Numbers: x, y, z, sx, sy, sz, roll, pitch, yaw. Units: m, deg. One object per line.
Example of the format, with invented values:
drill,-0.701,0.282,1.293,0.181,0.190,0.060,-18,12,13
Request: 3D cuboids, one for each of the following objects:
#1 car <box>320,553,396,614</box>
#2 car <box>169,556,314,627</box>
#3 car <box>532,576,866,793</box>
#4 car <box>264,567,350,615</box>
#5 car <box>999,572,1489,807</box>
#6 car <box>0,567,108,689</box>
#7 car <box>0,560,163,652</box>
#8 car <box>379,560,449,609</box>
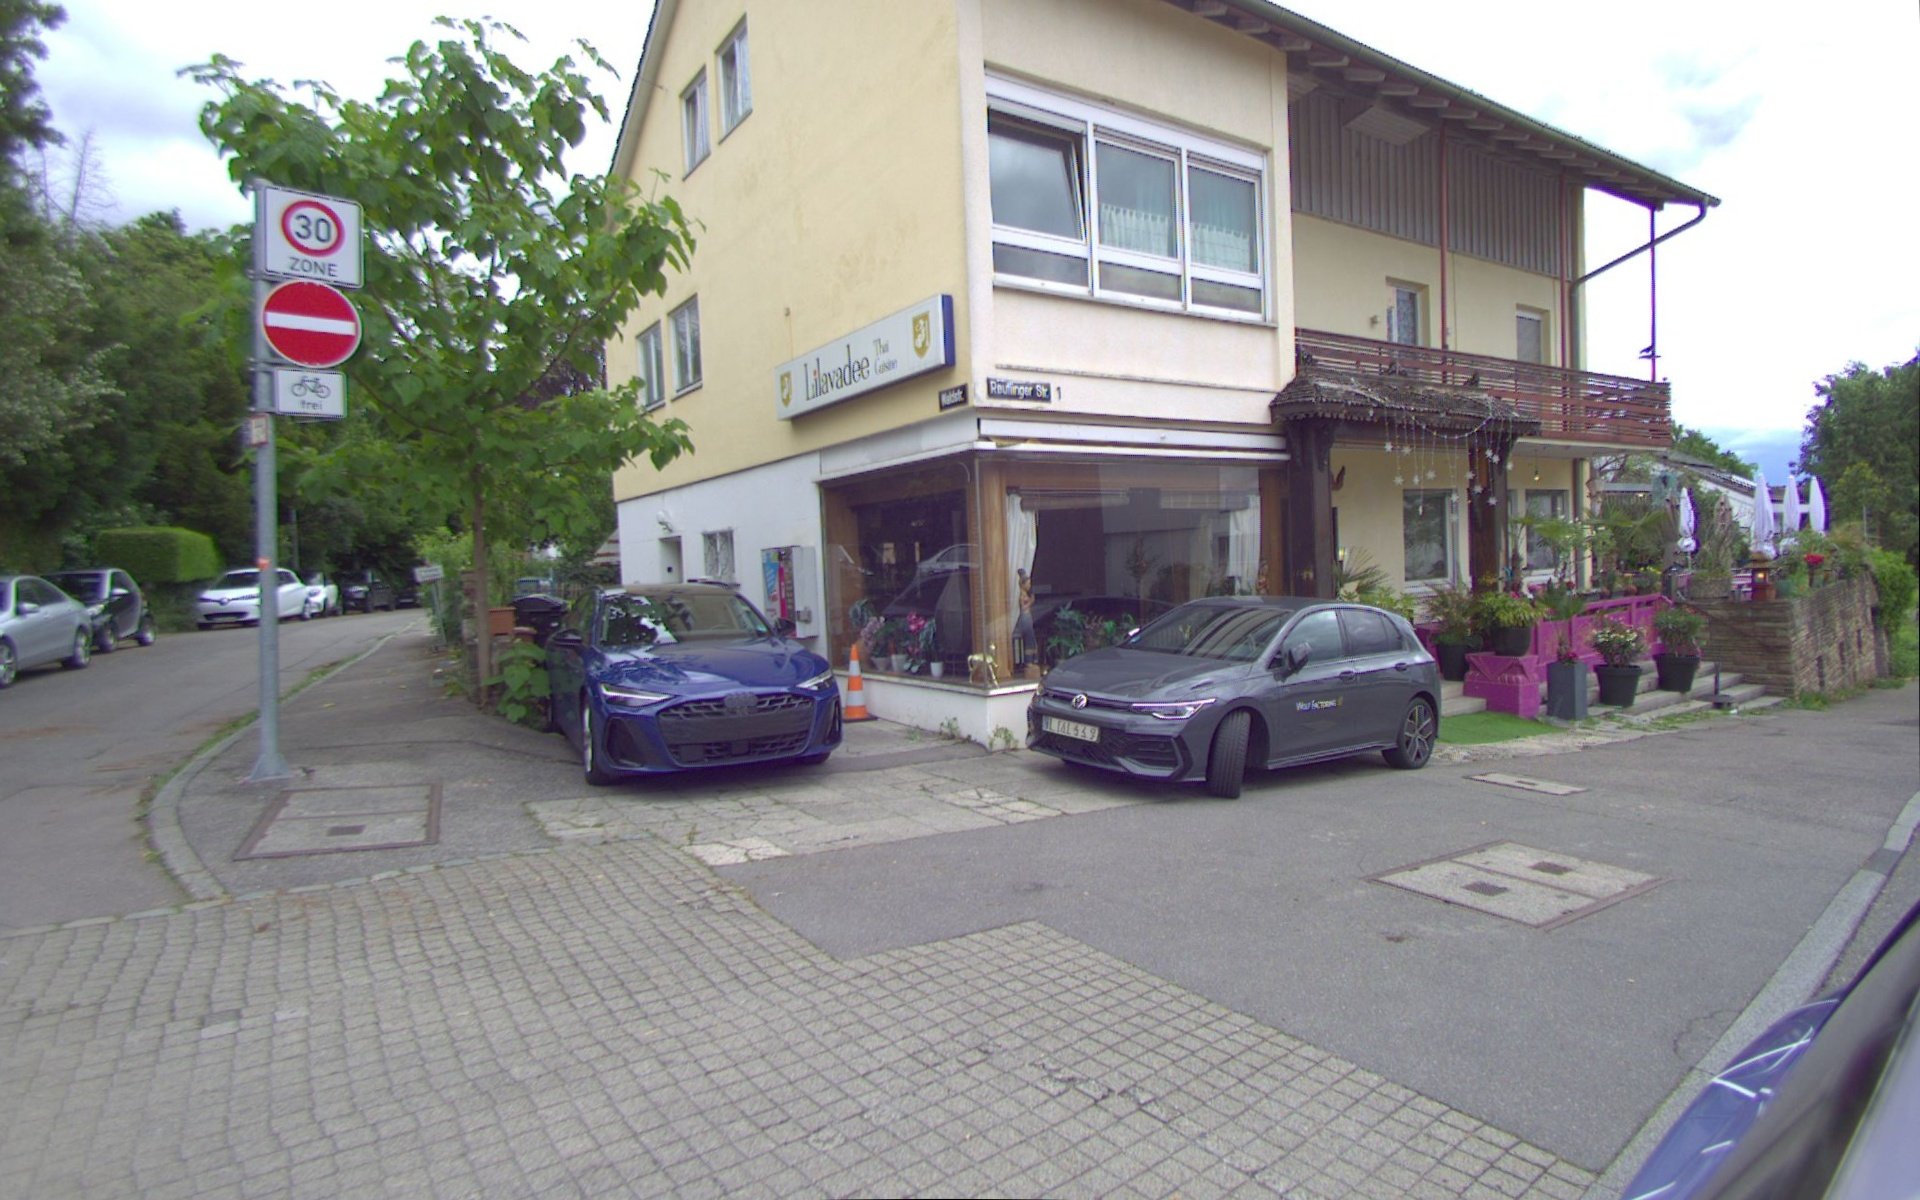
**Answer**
car,-21.356,-0.605,36.049,1.959,2.038,4.007,-1,2,-26
car,-19.333,-0.172,27.447,1.958,1.730,4.007,0,-2,-16
car,-2.523,0.478,8.798,1.799,1.343,4.518,-1,2,-28
car,-20.586,-0.326,32.009,1.638,1.441,3.391,-1,2,-22
car,2.577,0.564,8.665,4.306,1.490,1.853,0,2,-39
car,-13.270,0.384,13.404,1.961,1.463,4.303,-6,4,-27
car,-16.303,0.058,18.712,1.829,1.550,2.926,-1,2,-26
car,-24.031,-0.681,44.693,1.958,2.039,4.008,0,0,-17
